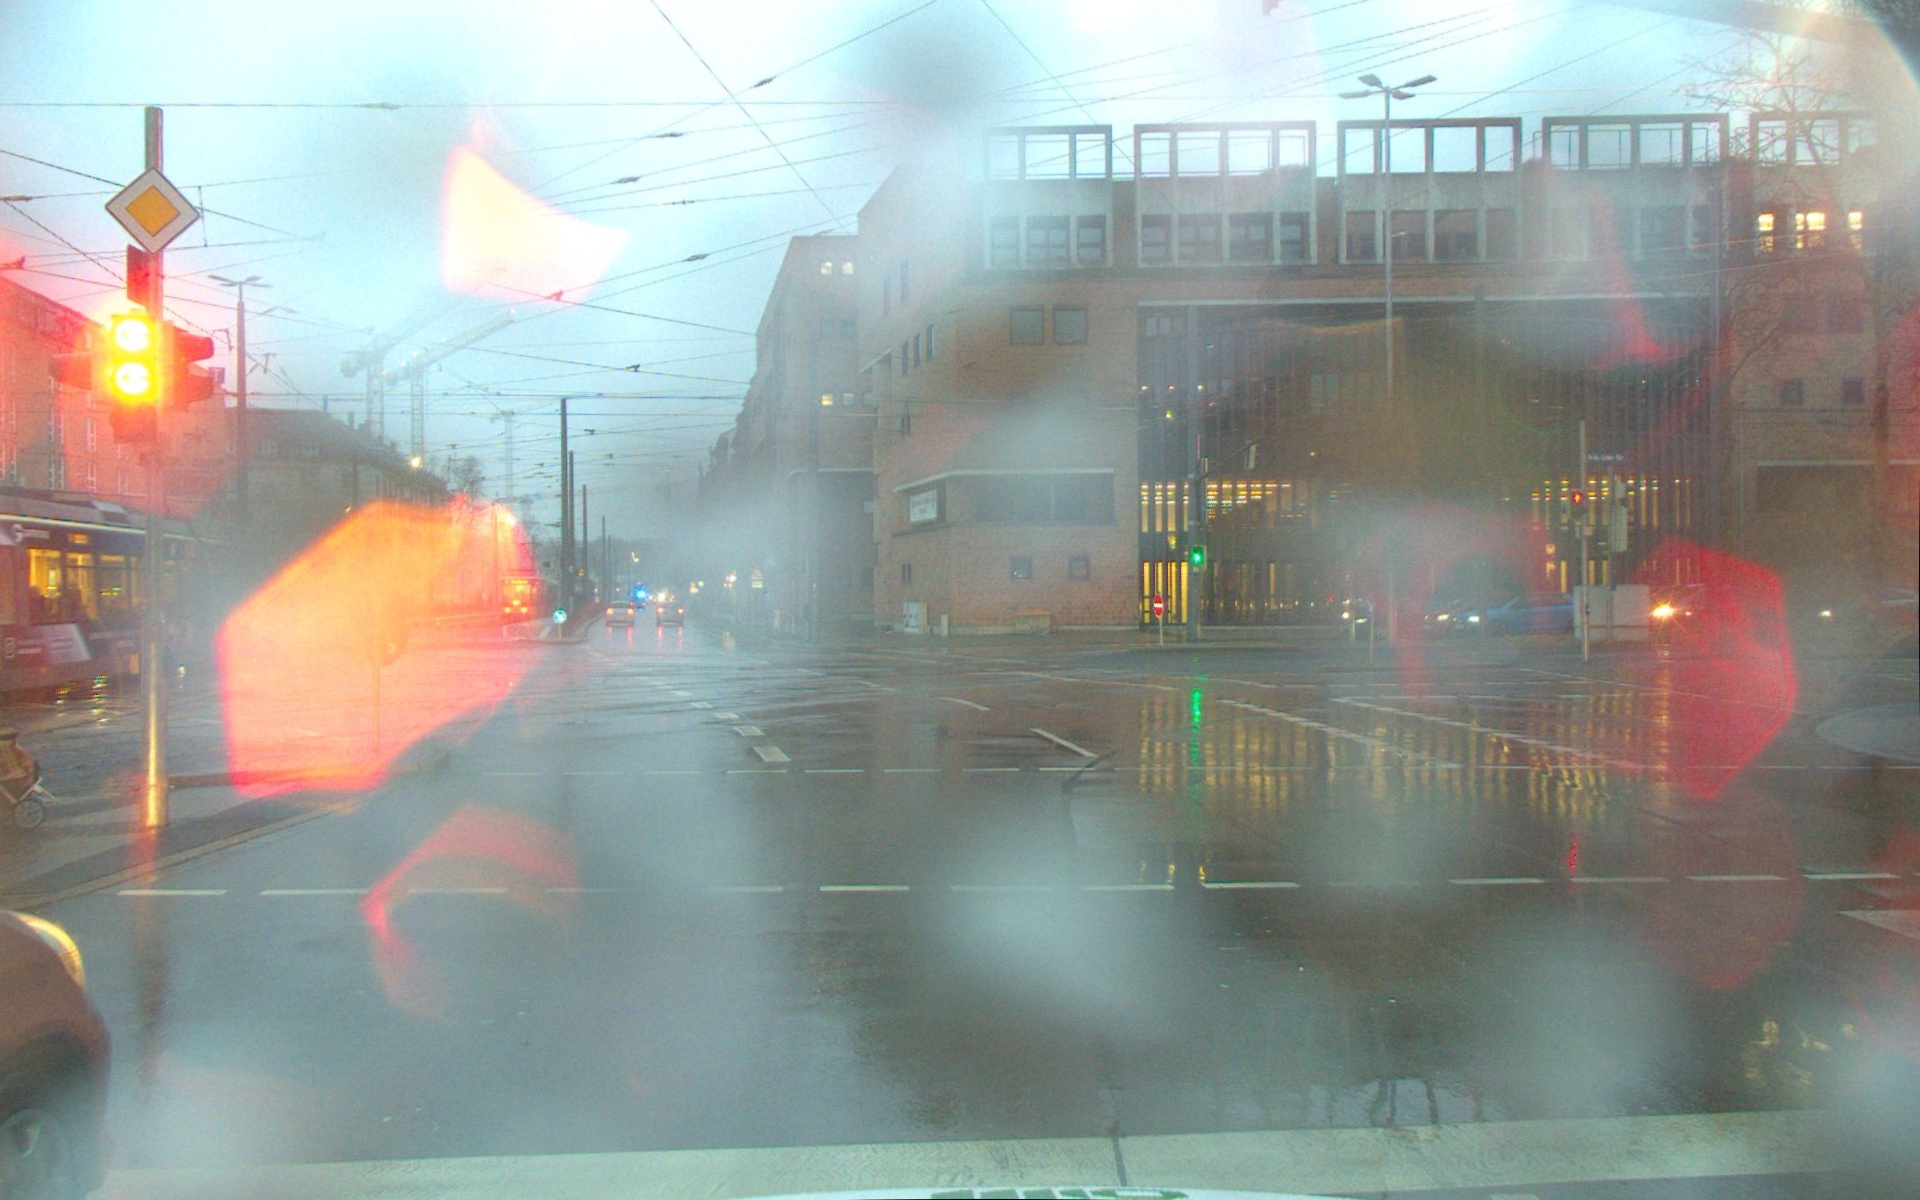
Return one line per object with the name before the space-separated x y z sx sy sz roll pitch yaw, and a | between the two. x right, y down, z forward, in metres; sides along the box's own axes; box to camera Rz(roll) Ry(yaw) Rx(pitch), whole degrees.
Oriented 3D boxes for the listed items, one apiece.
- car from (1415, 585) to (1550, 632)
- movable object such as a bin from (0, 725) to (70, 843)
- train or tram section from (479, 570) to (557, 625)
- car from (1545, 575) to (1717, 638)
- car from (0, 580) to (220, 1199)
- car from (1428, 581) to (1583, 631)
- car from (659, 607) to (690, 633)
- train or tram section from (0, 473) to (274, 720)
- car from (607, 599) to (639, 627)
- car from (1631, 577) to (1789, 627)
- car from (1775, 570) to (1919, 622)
car | 16.594 0.254 52.640 3.649 1.284 1.846 -1 4 -7
movable object such as a bin | -6.122 1.181 10.688 0.405 0.711 0.535 -3 -2 40
train or tram section | -31.548 -0.177 119.355 3.133 3.496 27.760 -1 0 -10
car | 18.222 0.153 45.000 3.910 1.530 1.846 -1 4 -7
car | -2.577 0.720 2.020 1.663 1.485 3.757 -1 0 0
car | 15.969 0.152 48.544 3.910 1.284 1.846 -1 4 -7
car | -18.809 1.322 109.109 1.836 1.606 3.992 2 0 -9
train or tram section | -17.706 -0.025 34.083 2.814 3.677 20.011 -1 0 -12
car | -20.802 0.780 102.188 1.837 1.606 3.990 2 0 -10
car | 22.340 0.031 49.350 3.910 1.310 1.846 -1 4 -7
car | 29.323 -0.154 54.625 3.910 1.530 1.846 -1 4 -7
